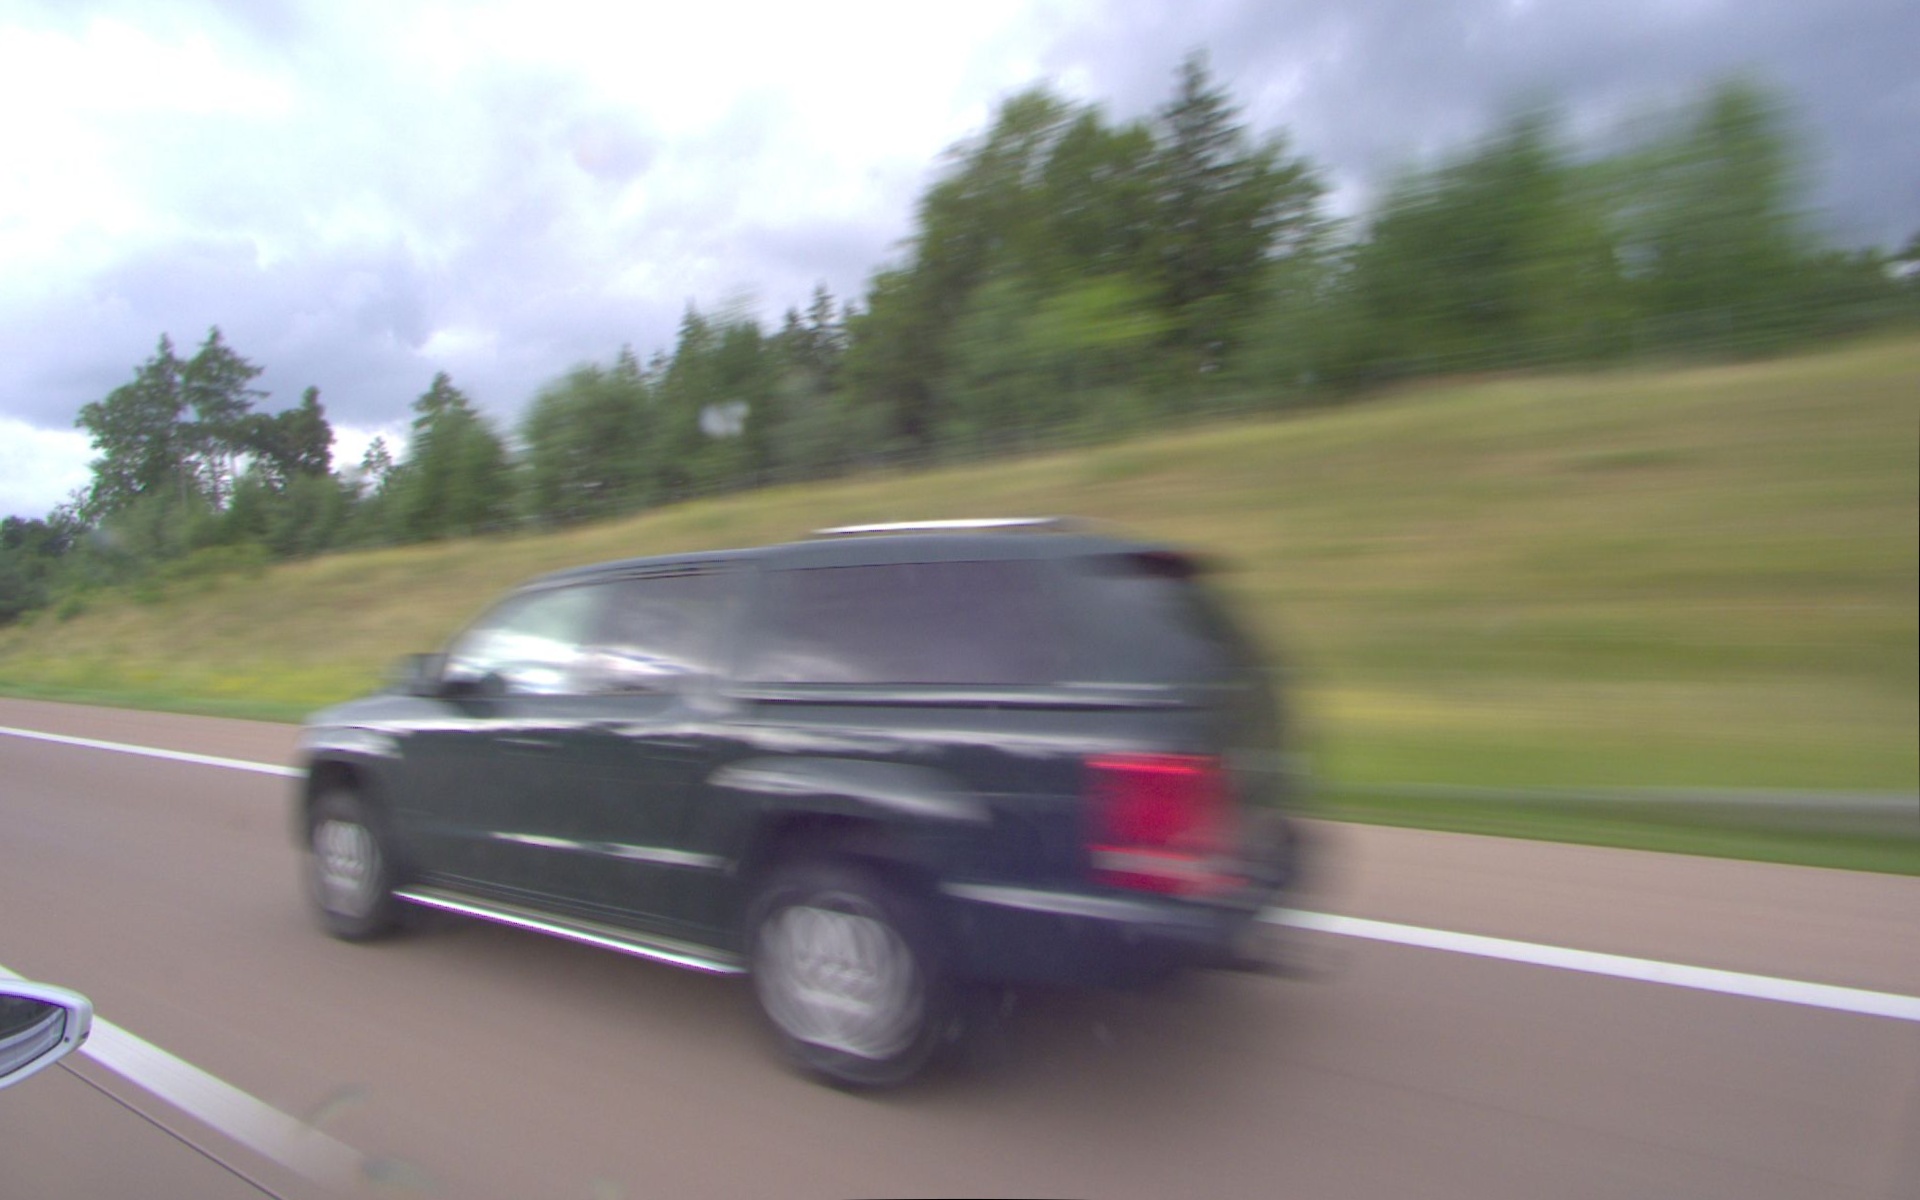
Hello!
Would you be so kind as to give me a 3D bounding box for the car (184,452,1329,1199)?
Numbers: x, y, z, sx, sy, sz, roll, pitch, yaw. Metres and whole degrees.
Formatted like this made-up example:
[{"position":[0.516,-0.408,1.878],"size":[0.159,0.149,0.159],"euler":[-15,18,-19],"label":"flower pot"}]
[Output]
[{"position":[-1.327,0.683,4.790],"size":[5.498,1.921,2.040],"euler":[-2,-1,32],"label":"car"}]
